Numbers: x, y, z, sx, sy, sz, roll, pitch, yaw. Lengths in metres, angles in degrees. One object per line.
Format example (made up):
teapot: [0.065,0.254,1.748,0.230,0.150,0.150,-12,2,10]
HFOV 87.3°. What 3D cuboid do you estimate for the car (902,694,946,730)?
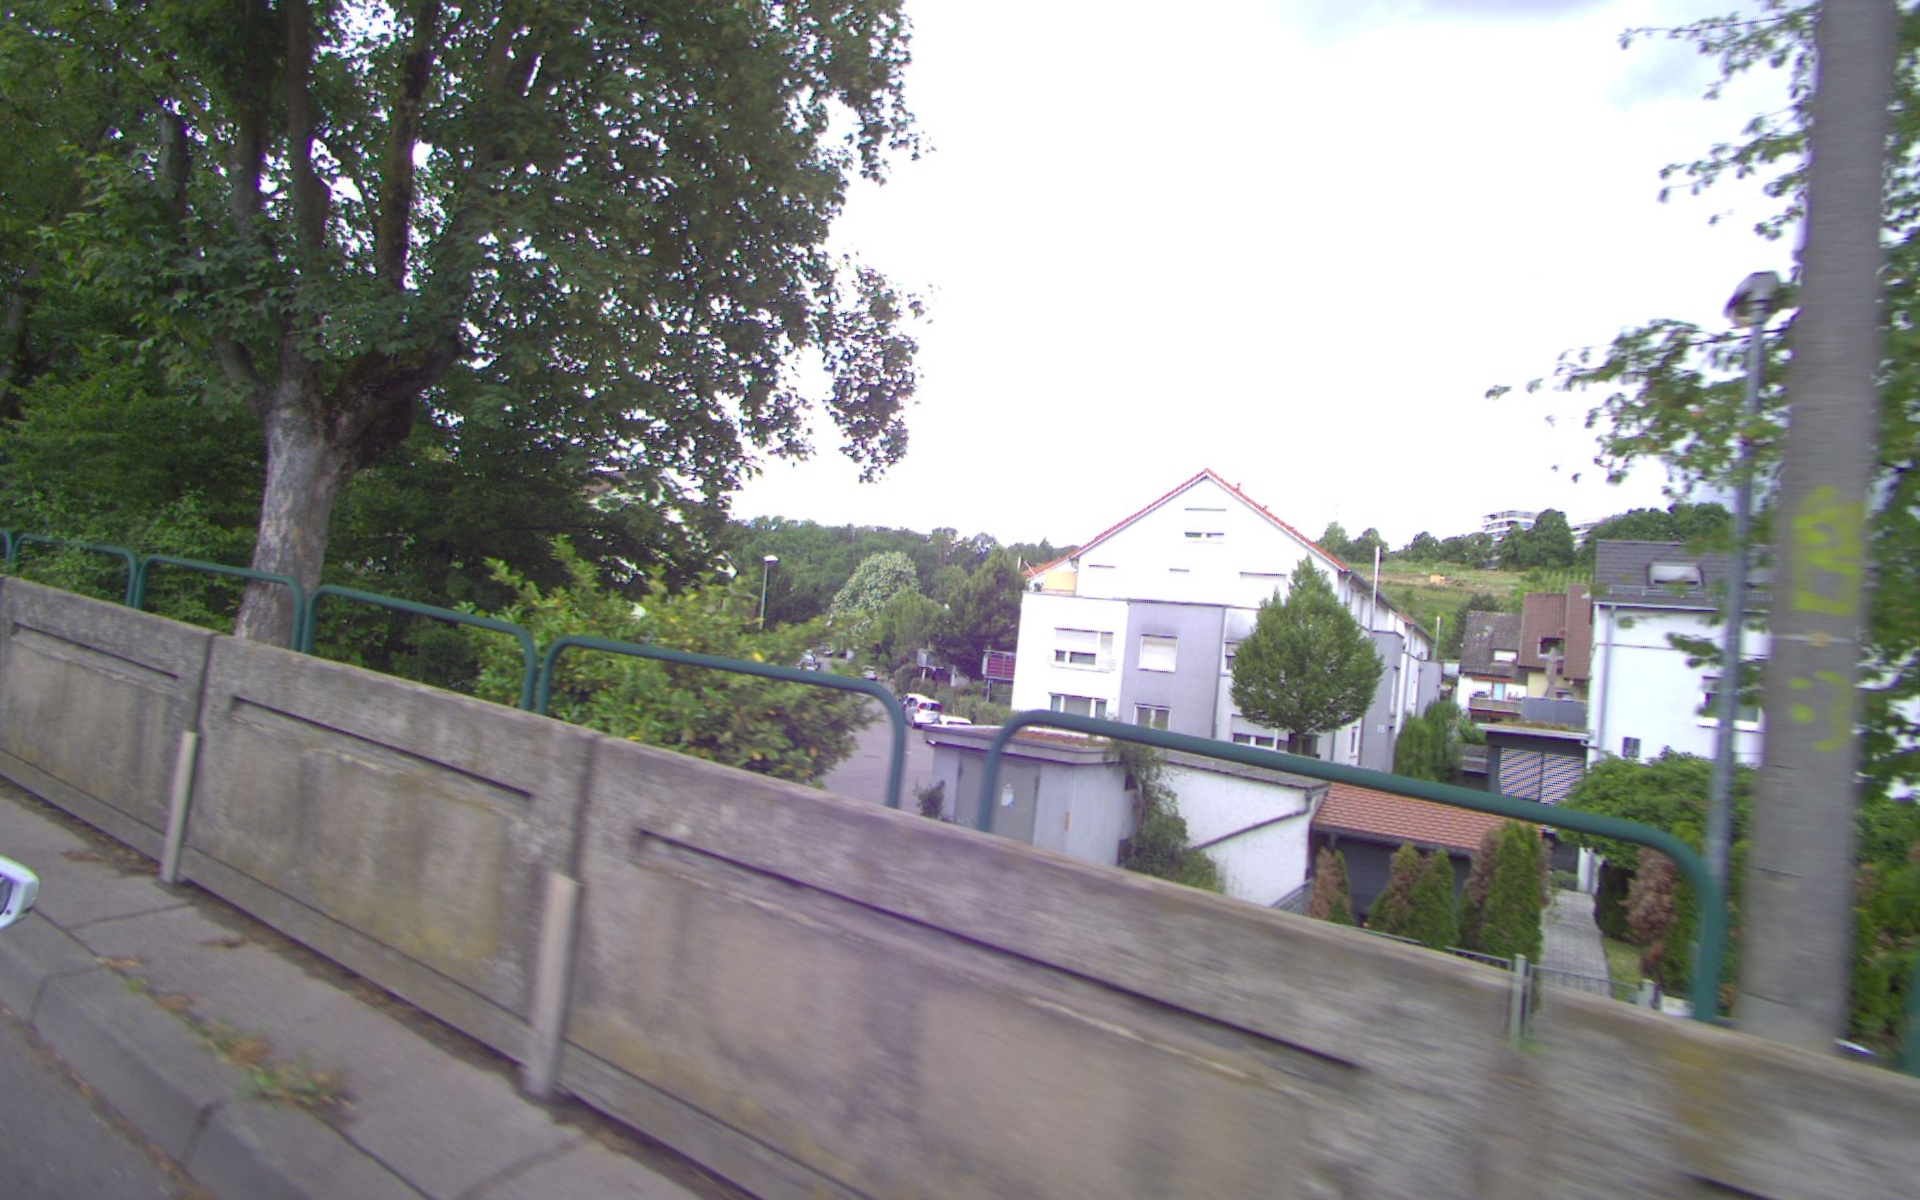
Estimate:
car: [-1.989,5.989,54.037,1.665,1.516,4.000,8,-5,-9]

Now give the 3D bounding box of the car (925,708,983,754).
car: [-0.324,5.660,43.684,1.731,1.454,3.998,8,-4,-9]
